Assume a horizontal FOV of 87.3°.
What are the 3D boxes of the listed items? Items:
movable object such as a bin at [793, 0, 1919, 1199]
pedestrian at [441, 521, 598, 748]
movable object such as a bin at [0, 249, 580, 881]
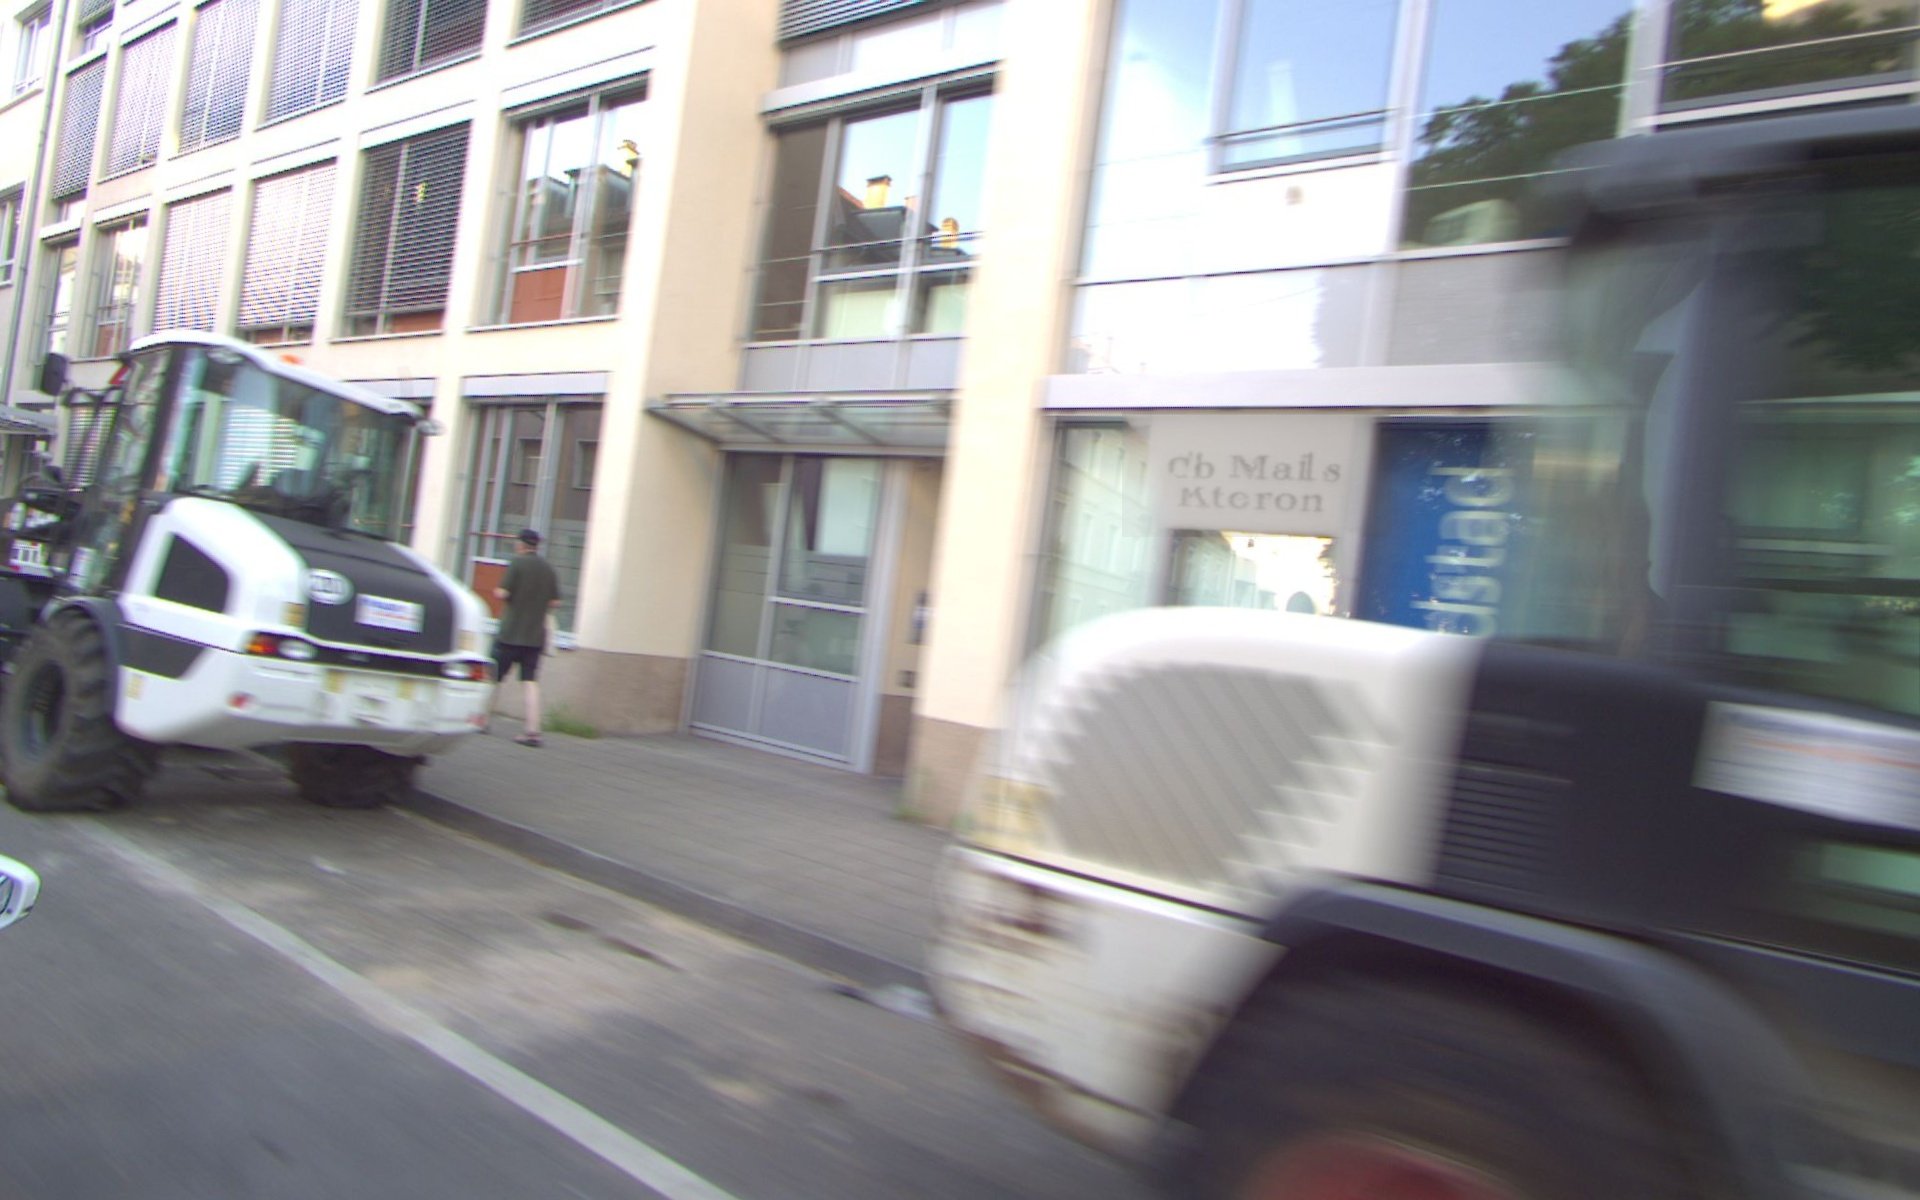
[{"bbox_3d":[2.676,0.614,1.633,5.657,2.651,2.021,7,-4,33],"label":"movable object such as a bin"},{"bbox_3d":[-3.856,0.307,8.831,0.710,1.841,0.806,7,0,31],"label":"pedestrian"},{"bbox_3d":[-5.318,-0.320,6.557,5.657,2.651,2.021,7,-3,33],"label":"movable object such as a bin"}]
